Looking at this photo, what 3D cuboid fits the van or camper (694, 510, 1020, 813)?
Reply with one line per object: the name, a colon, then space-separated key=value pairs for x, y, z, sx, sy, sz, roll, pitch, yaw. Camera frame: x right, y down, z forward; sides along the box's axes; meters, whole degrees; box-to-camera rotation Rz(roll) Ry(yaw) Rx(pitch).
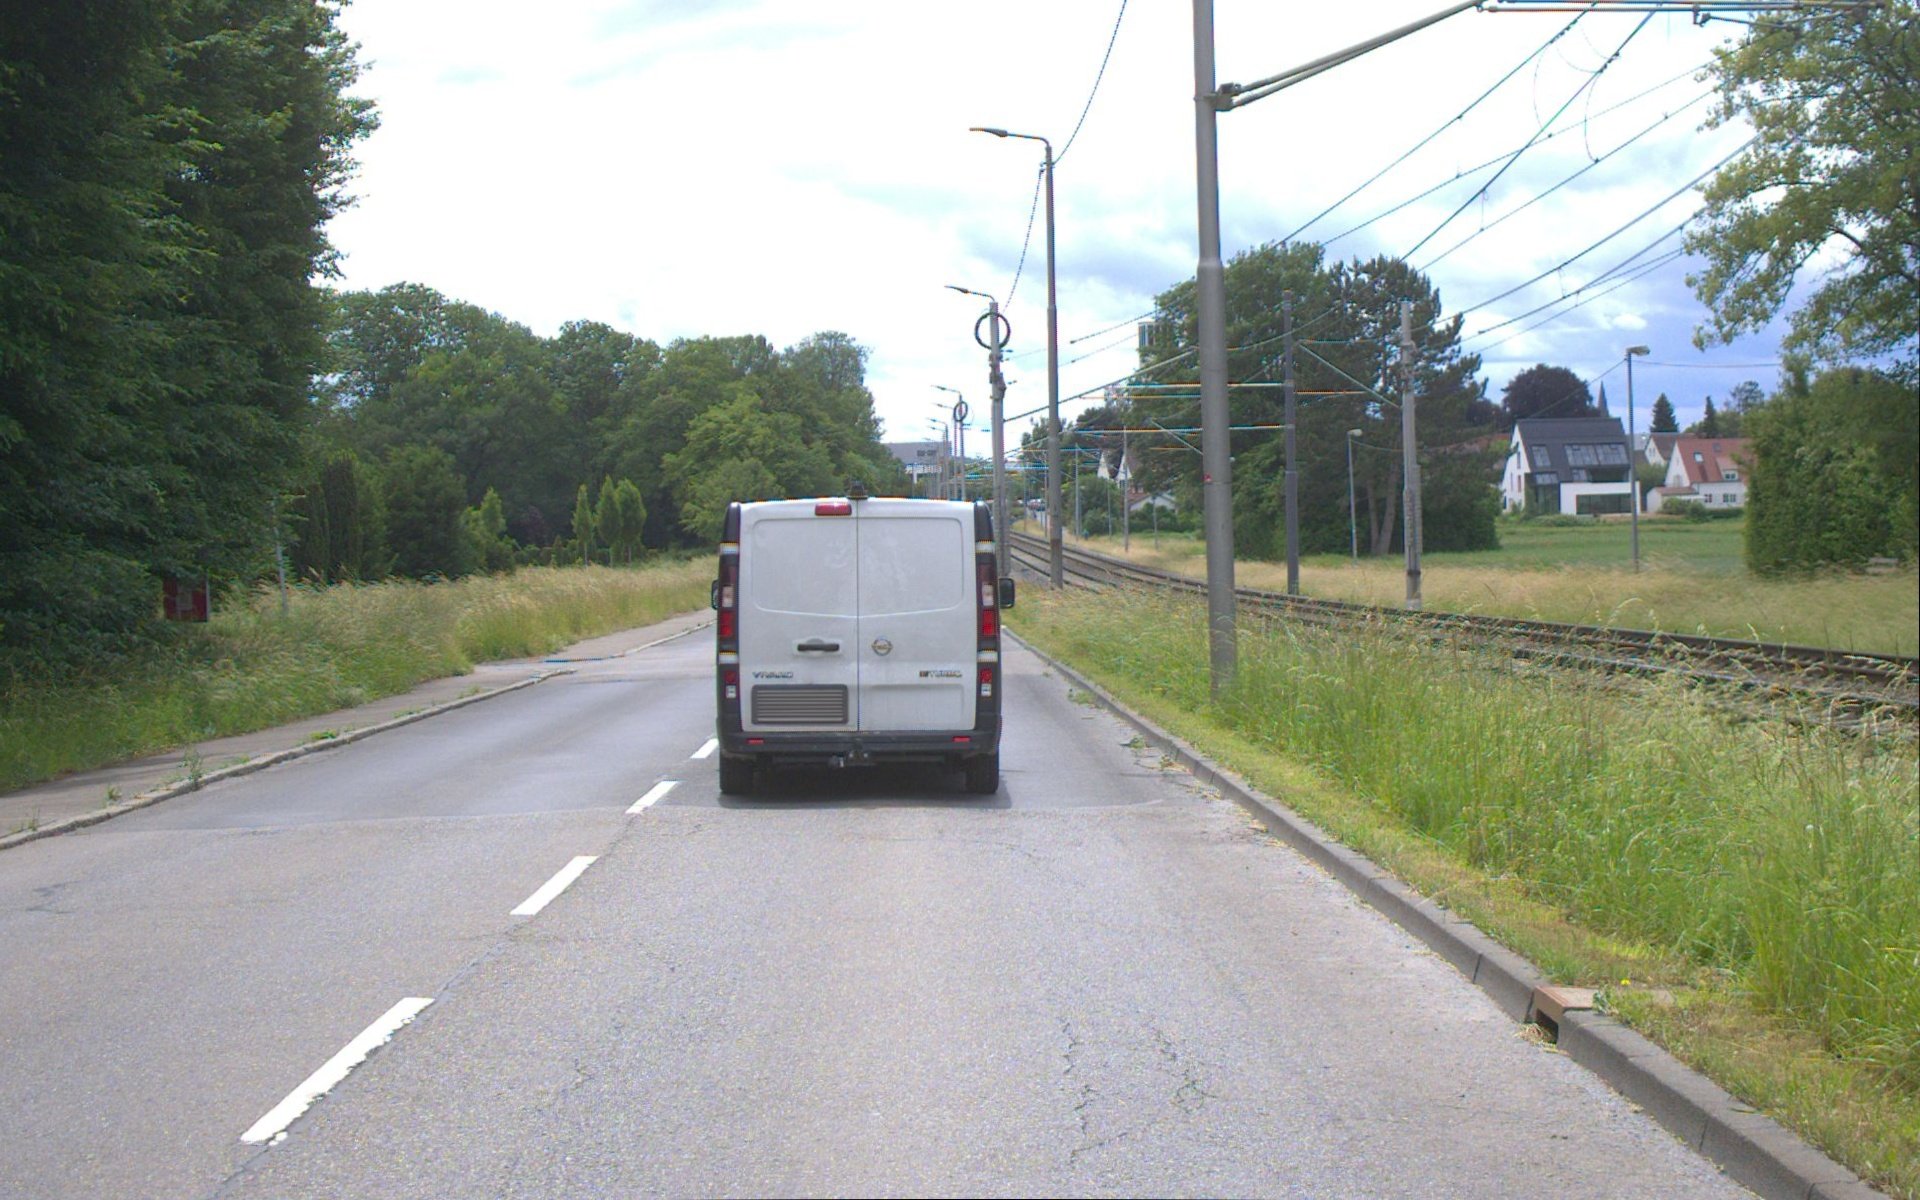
van or camper: x=-0.611 y=0.389 z=23.723 sx=1.942 sy=1.890 sz=4.284 roll=0 pitch=0 yaw=2
